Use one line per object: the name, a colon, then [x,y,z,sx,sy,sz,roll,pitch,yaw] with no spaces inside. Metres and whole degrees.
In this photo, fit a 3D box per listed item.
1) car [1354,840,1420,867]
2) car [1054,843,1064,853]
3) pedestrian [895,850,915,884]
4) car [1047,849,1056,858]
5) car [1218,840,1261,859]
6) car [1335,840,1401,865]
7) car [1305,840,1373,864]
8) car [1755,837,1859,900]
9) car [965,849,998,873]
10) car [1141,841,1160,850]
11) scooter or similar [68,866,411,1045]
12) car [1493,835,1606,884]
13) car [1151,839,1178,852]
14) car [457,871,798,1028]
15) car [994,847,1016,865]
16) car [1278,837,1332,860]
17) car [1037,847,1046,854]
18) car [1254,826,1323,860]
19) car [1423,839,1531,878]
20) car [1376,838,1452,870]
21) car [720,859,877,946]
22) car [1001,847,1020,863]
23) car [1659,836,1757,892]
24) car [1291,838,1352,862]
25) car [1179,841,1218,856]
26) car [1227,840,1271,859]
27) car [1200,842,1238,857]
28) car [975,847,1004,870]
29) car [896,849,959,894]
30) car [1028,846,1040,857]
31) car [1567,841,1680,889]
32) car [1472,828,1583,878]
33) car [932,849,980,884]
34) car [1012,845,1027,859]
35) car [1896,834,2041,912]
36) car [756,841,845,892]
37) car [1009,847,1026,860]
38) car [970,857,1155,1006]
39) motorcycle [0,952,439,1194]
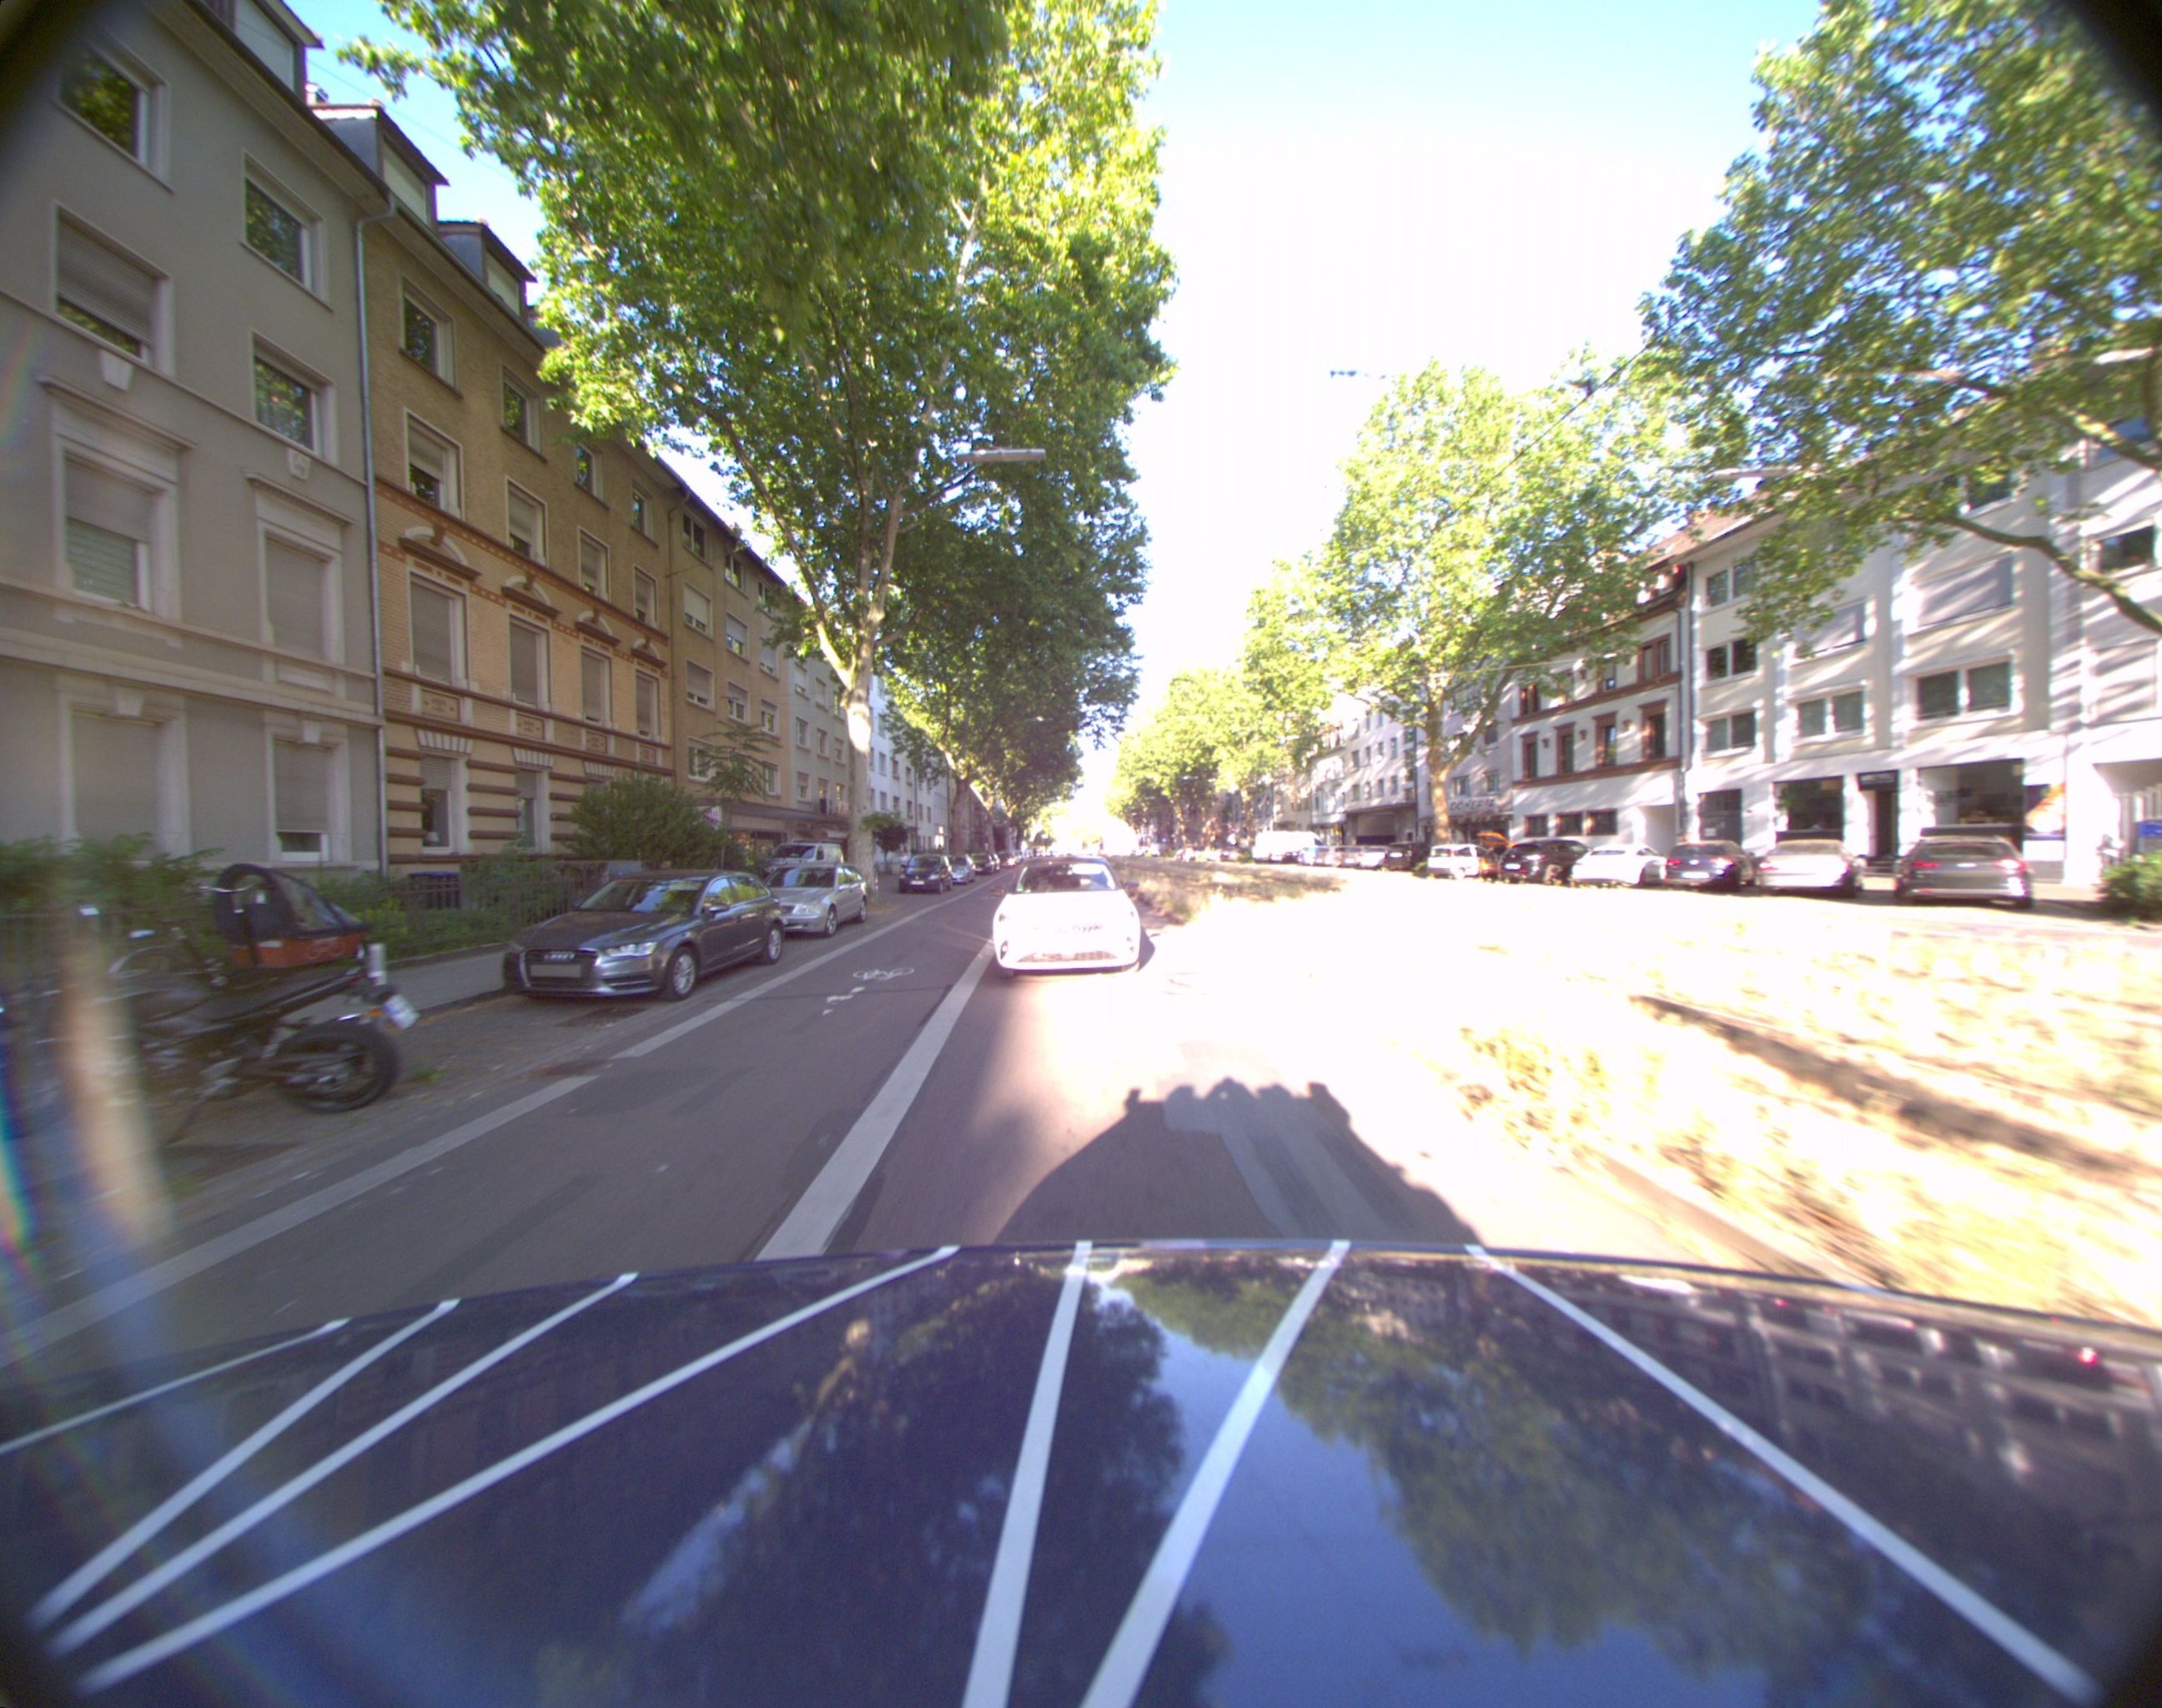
car: [17.910,-0.064,44.440,4.265,1.451,1.598,-2,1,-37]
car: [-4.658,-1.323,161.407,1.999,2.002,3.998,-3,1,-1]
pedestrian: [-8.326,0.613,35.985,0.728,1.571,0.701,-1,2,-1]
car: [-6.961,-0.041,180.404,1.999,2.002,3.999,-3,1,-1]
car: [16.634,-0.485,79.755,4.006,1.805,1.995,-2,1,-28]
car: [18.056,-0.110,47.721,4.265,1.449,1.902,-2,1,-37]
car: [17.615,-0.138,51.906,4.004,1.509,1.996,-2,1,-22]
car: [18.687,0.327,19.498,3.979,1.424,1.738,-2,0,-44]
car: [-6.723,0.435,51.540,1.803,1.494,4.368,1,1,-2]
car: [14.641,-1.853,160.312,3.994,1.802,1.874,-1,1,8]
scooter or similar: [-8.380,0.900,7.827,0.666,1.461,2.544,-1,1,-1]
car: [17.591,0.156,28.476,4.265,1.674,2.147,-2,1,-36]
car: [14.984,-1.599,136.534,4.951,2.200,2.096,-2,1,-43]
car: [-5.331,1.005,9.757,1.803,1.394,4.369,1,1,-1]
car: [-7.185,0.138,72.347,1.803,1.599,4.103,1,1,-2]
car: [18.180,-0.455,61.641,4.006,1.805,1.995,-2,1,-28]
car: [-11.964,-1.117,229.395,1.998,1.850,4.000,-3,1,4]
car: [17.580,-0.951,64.330,5.619,2.685,2.175,-2,1,-26]
car: [17.377,0.163,33.388,4.260,1.549,1.641,-1,1,-17]
car: [17.962,-0.013,40.932,4.265,1.605,1.902,-2,1,-37]
car: [-5.680,0.896,15.912,1.803,1.447,4.510,1,1,-3]
car: [-7.403,0.074,80.049,1.803,1.599,4.103,1,1,-2]
car: [18.820,0.258,22.764,3.979,1.495,1.827,-2,1,-44]
car: [17.441,-0.280,55.027,4.006,1.609,1.995,-2,1,-28]
car: [13.948,-0.646,90.395,4.235,1.696,1.999,-1,1,-5]
car: [16.900,-0.449,76.490,4.006,1.805,1.995,-2,1,-28]
car: [16.059,-0.529,88.265,4.006,1.696,1.995,-2,1,-28]
car: [-6.791,0.319,56.835,1.803,1.599,4.368,1,1,-2]
car: [-6.104,0.650,30.696,1.803,1.599,4.368,1,1,-2]
car: [-7.150,-0.417,116.308,1.803,1.598,3.701,1,1,-2]
car: [18.072,0.315,25.251,4.265,1.369,2.147,-2,1,-42]
car: [18.737,-0.070,31.899,4.260,1.932,1.514,-2,1,-17]
car: [-6.243,0.587,38.365,1.803,1.599,4.368,1,1,-2]
car: [-7.986,-0.222,99.214,1.803,1.742,4.103,1,1,-2]
car: [18.758,0.330,16.227,3.979,1.423,1.767,-2,1,-44]
car: [-11.068,0.421,30.361,1.933,1.864,4.676,1,1,-2]
car: [-7.757,-0.074,92.761,1.803,1.599,4.103,1,1,-2]
car: [-0.252,0.805,9.848,1.865,1.394,3.930,-3,1,-2]
motorcycle: [-5.287,1.215,4.464,2.217,1.104,0.662,1,0,-28]
